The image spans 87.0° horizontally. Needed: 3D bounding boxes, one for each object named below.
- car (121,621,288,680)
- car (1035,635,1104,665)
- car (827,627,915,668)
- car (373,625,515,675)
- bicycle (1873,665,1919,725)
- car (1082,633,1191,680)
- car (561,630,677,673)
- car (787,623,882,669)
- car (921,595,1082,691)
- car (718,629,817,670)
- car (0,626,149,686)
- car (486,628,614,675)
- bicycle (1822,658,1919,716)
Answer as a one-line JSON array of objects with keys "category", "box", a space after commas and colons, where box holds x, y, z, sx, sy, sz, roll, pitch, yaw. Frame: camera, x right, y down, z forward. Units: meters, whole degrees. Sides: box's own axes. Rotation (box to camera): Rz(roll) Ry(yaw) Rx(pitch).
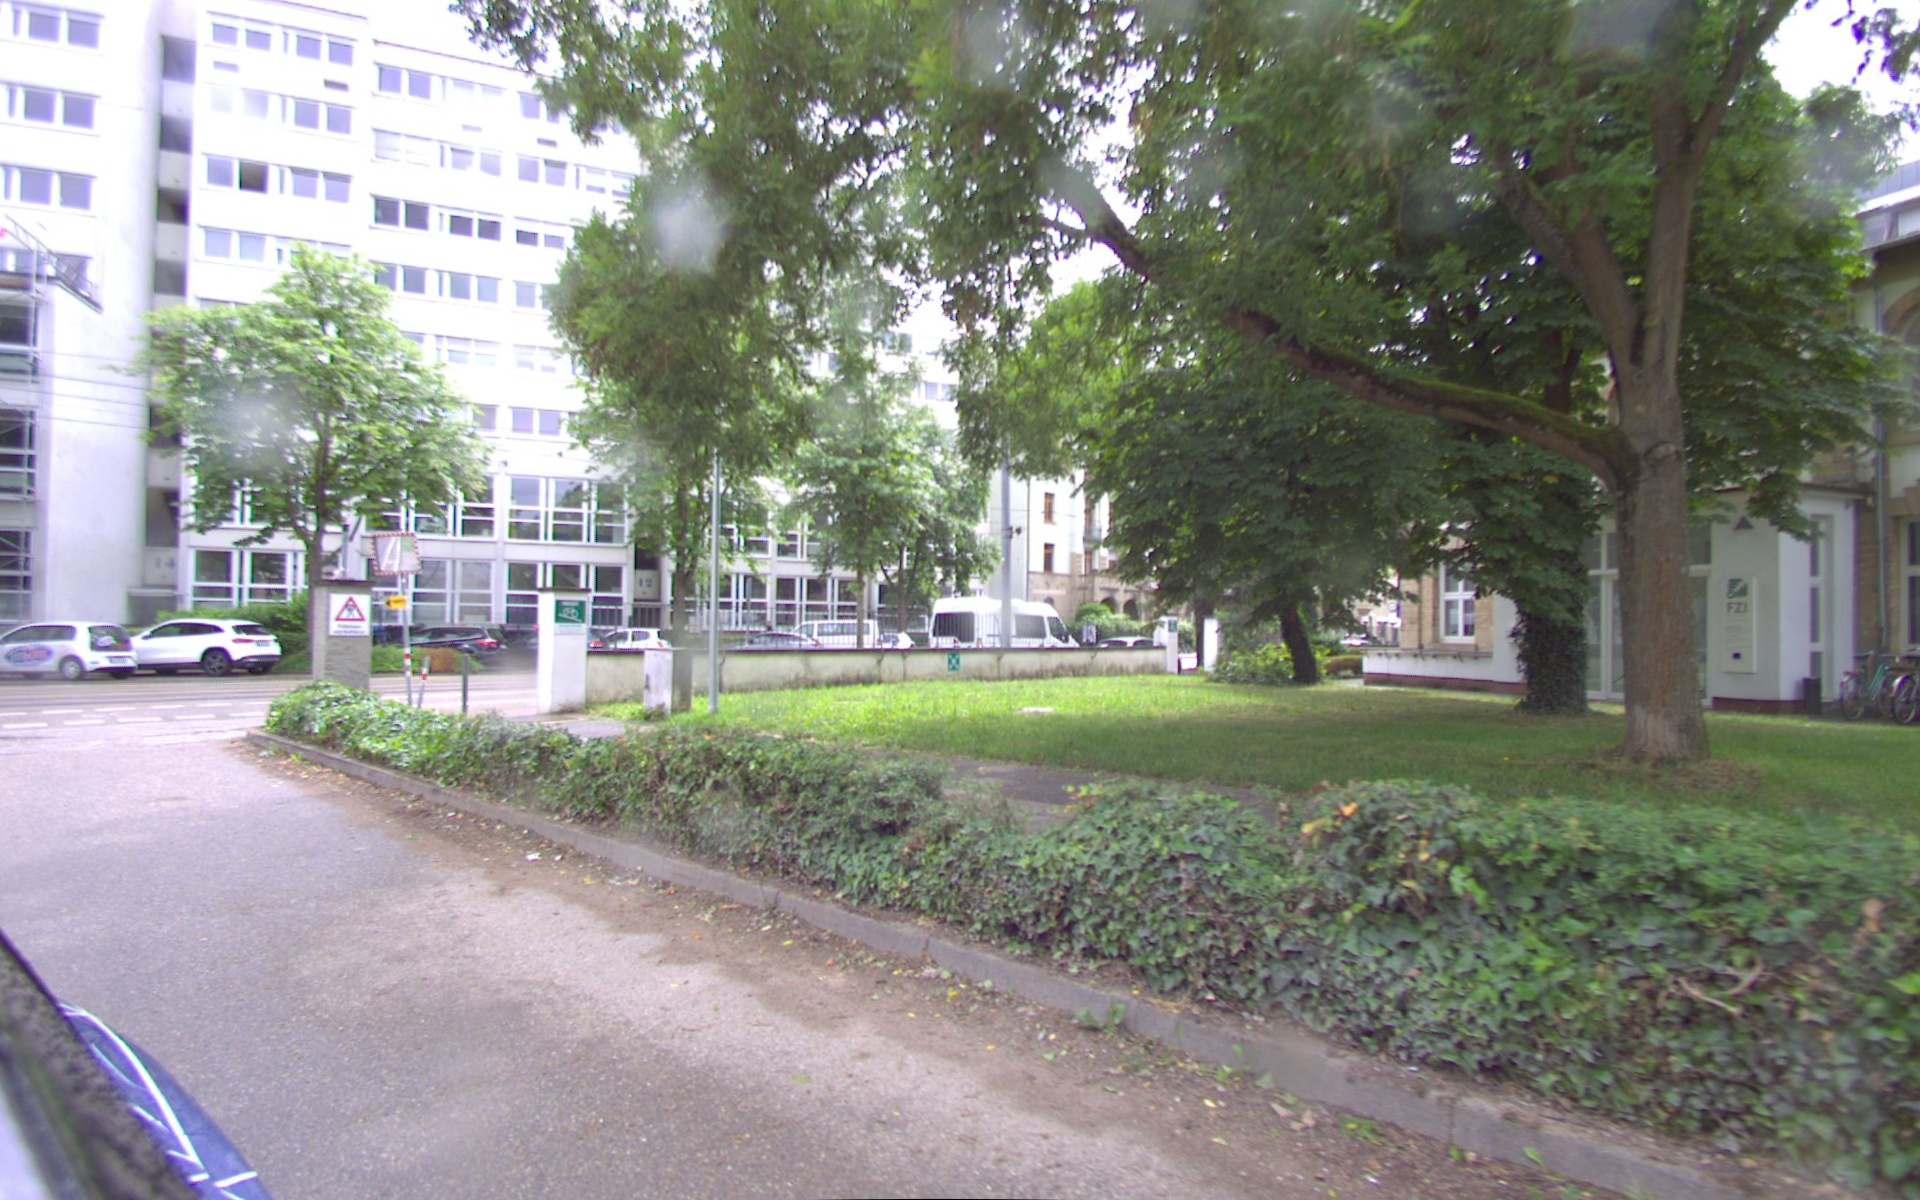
[{"category": "car", "box": [-21.030, 1.418, 28.270, 3.341, 1.615, 1.708, 0, -3, -1]}, {"category": "car", "box": [6.458, 2.957, 59.837, 3.832, 1.687, 1.751, 1, -3, -1]}, {"category": "car", "box": [-4.164, 2.252, 47.731, 4.026, 1.820, 1.790, 1, -3, -1]}, {"category": "car", "box": [-16.907, 1.653, 33.290, 3.726, 1.517, 1.790, 1, -3, -1]}, {"category": "bicycle", "box": [14.386, 1.383, 14.938, 2.021, 0.805, 0.454, 0, 0, -20]}, {"category": "car", "box": [6.193, 1.969, 35.231, 1.911, 1.534, 4.086, -2, -4, 41]}, {"category": "car", "box": [-12.805, 1.938, 38.146, 3.726, 1.517, 1.790, 1, -3, -1]}, {"category": "car", "box": [-5.601, 2.072, 45.469, 4.026, 1.947, 1.790, 1, -3, -1]}, {"category": "car", "box": [1.322, 1.309, 29.871, 2.094, 2.601, 5.011, -2, -4, 41]}, {"category": "car", "box": [-8.204, 2.117, 43.128, 4.017, 1.663, 1.794, 2, -4, -11]}, {"category": "car", "box": [-22.923, 1.422, 25.669, 3.341, 1.456, 1.654, 0, -3, -1]}, {"category": "car", "box": [-14.336, 1.817, 35.541, 3.726, 1.517, 1.790, 1, -3, -1]}, {"category": "bicycle", "box": [14.158, 1.318, 15.538, 2.021, 0.805, 0.454, 0, 0, -20]}]
